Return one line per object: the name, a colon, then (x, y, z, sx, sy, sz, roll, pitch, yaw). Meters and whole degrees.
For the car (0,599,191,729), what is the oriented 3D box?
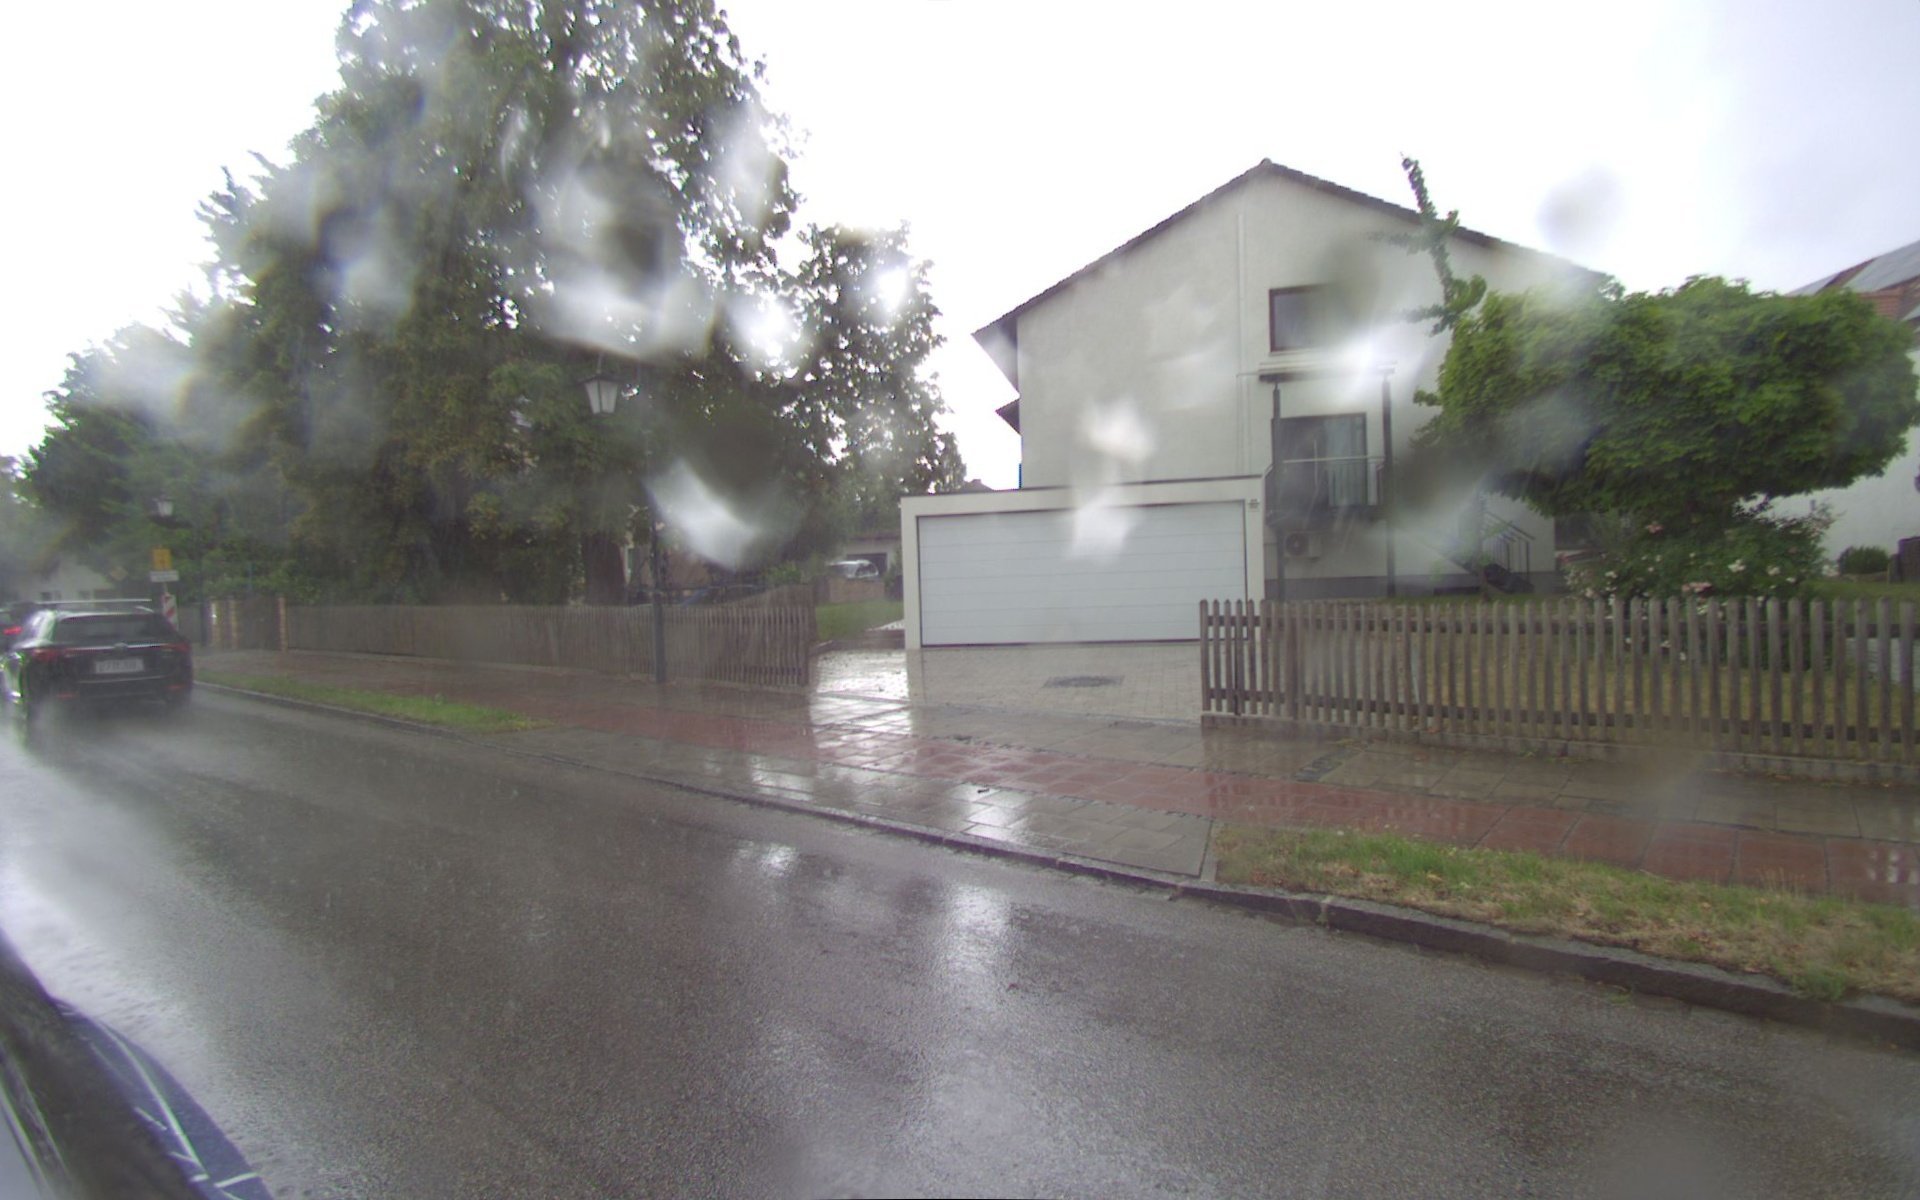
car: (-12.350, 0.801, 14.227, 4.186, 1.532, 1.621, -1, 1, 41)

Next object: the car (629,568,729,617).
car: (-12.031, -0.327, 43.455, 3.613, 1.815, 1.839, -3, 2, 7)

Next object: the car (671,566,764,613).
car: (-11.005, -0.490, 46.009, 3.613, 1.815, 1.839, -3, 2, 7)

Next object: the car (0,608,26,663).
car: (-27.926, 1.012, 28.536, 4.371, 1.476, 1.762, -1, 1, 40)

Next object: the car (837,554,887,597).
car: (-5.488, -1.358, 56.965, 1.767, 2.311, 3.838, -1, 0, 11)
